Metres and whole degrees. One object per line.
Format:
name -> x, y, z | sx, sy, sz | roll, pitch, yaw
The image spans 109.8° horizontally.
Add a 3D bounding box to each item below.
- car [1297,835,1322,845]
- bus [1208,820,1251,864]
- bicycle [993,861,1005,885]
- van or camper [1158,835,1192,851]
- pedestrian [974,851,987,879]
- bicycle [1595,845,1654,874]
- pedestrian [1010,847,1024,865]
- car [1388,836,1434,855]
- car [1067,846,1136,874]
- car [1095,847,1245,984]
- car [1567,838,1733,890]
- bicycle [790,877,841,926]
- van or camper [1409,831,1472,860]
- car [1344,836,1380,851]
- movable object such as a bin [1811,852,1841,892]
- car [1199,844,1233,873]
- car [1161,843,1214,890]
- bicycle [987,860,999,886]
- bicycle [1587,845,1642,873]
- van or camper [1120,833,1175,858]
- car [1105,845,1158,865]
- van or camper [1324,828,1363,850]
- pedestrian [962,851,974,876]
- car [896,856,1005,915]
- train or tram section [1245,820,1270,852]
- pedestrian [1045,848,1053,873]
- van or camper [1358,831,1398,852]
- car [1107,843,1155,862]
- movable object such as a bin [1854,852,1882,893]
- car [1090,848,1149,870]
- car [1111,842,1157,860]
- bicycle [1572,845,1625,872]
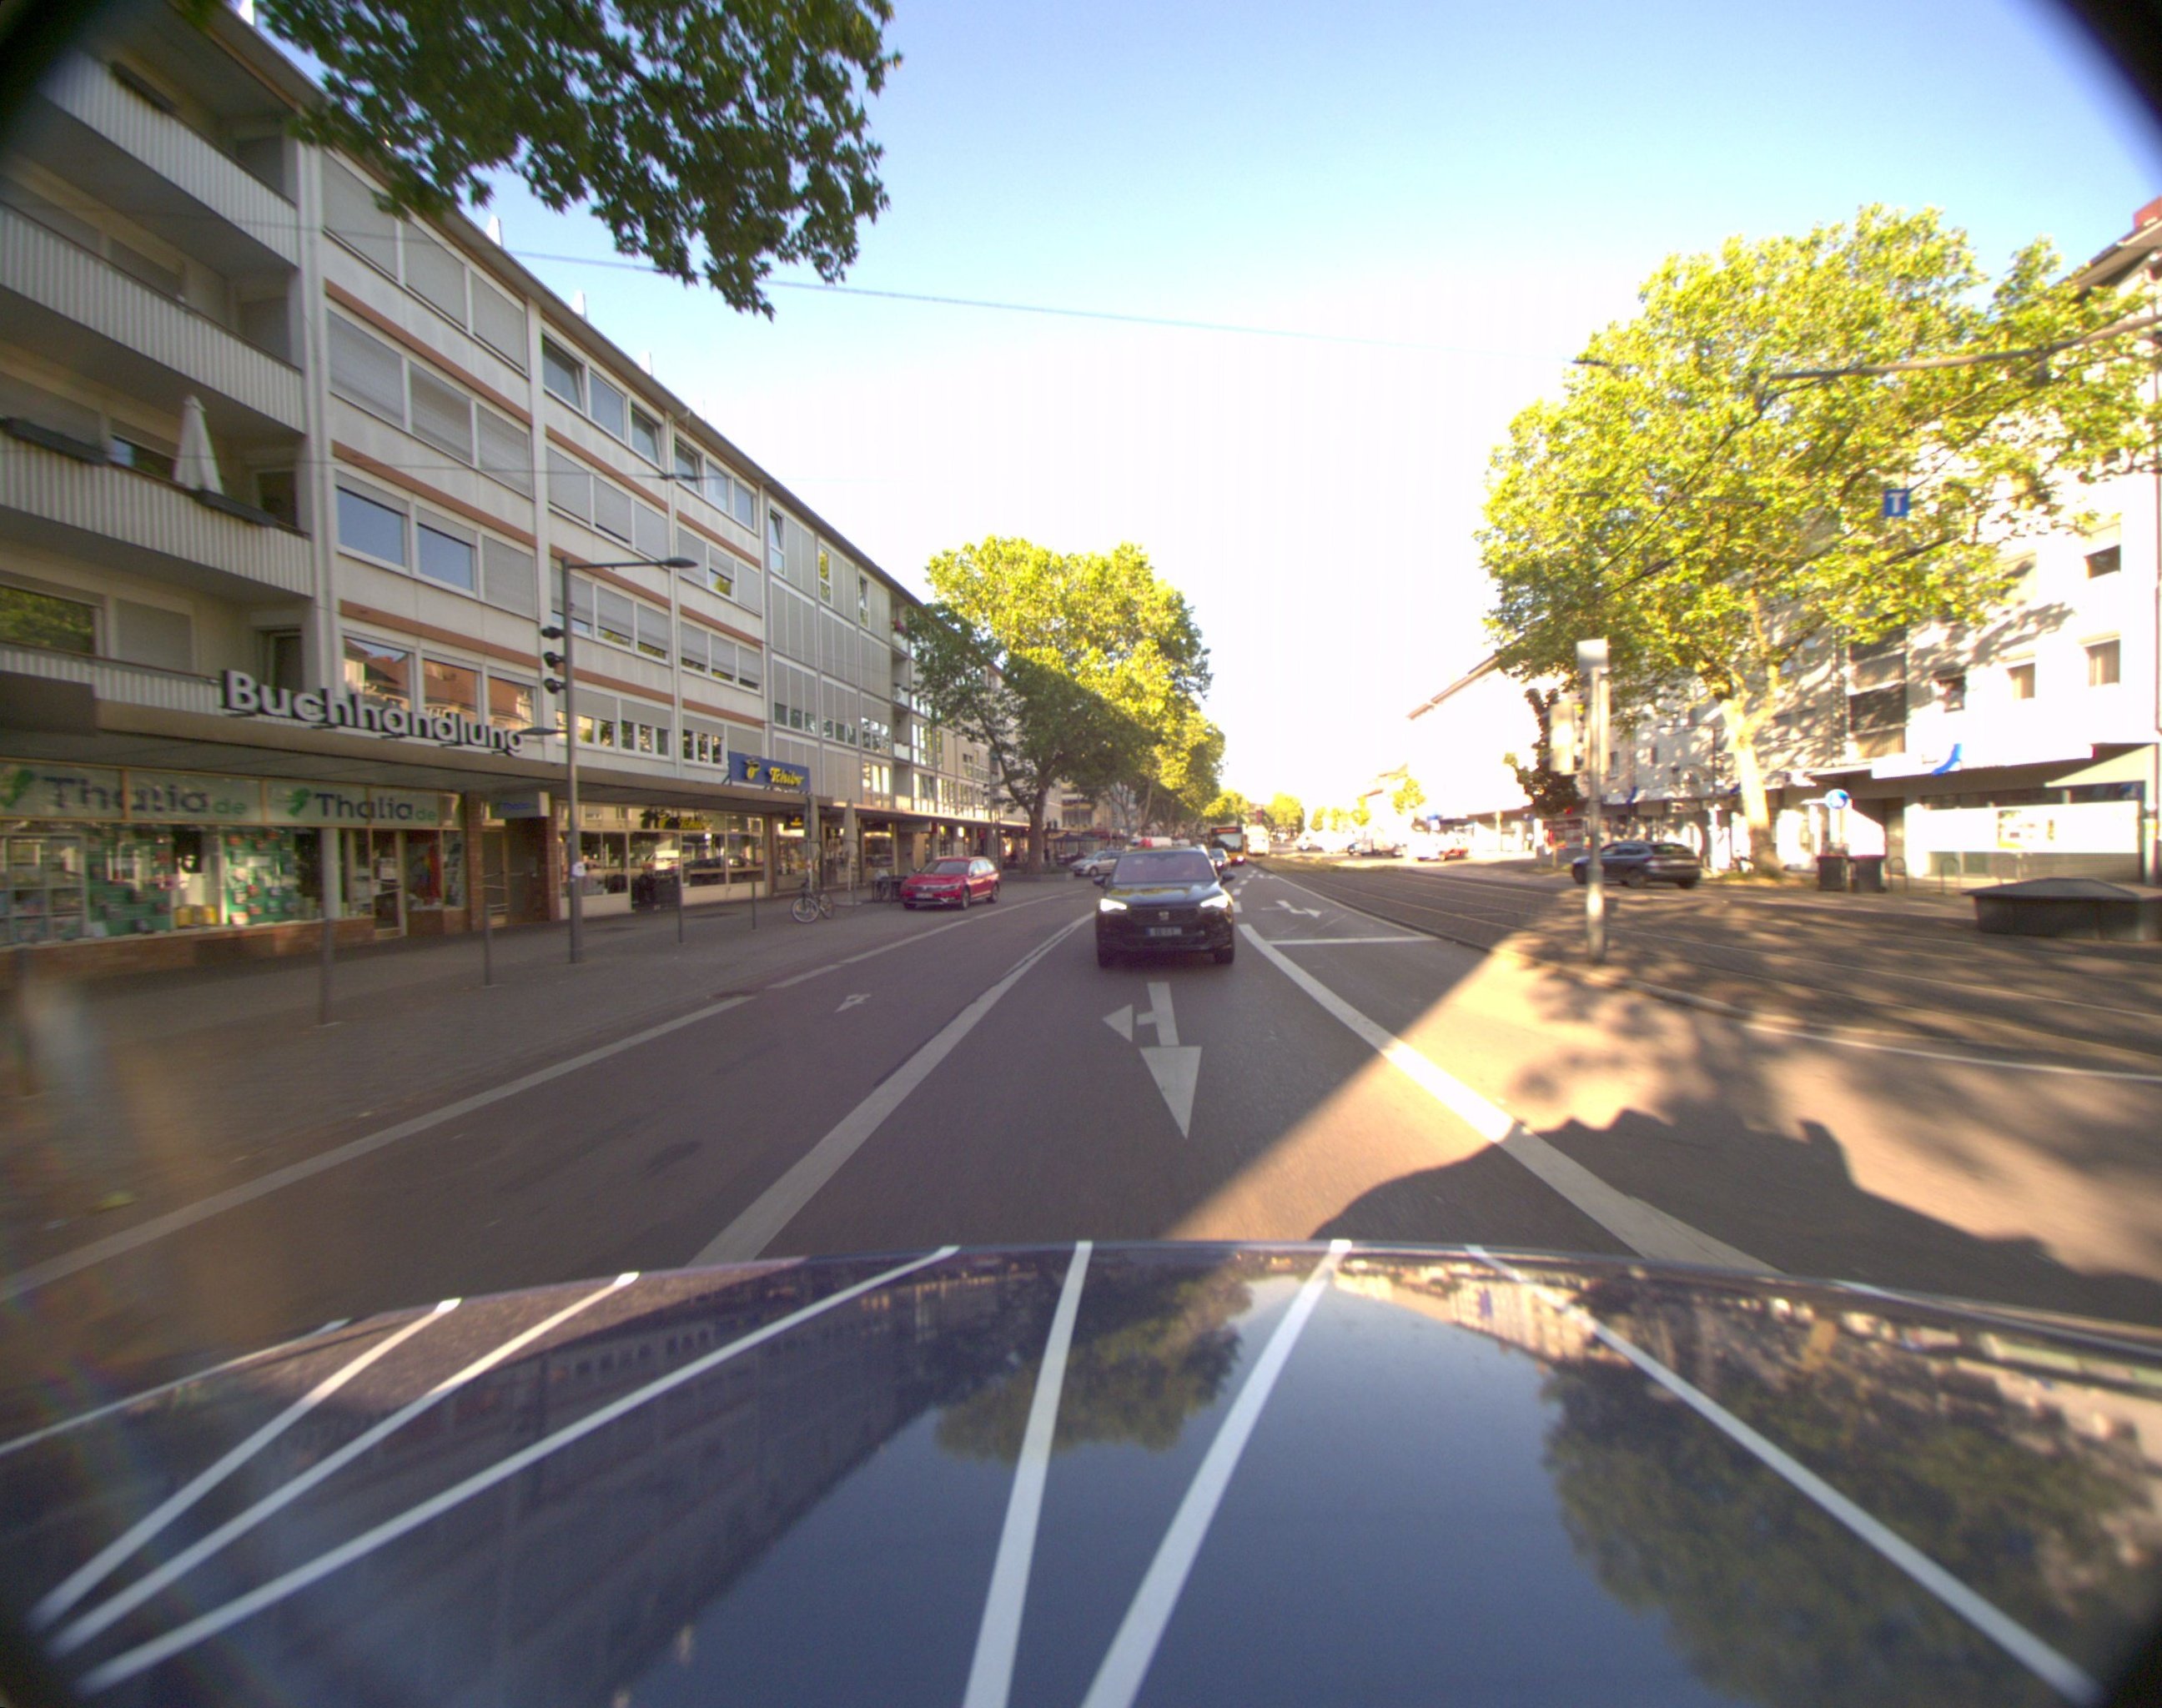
car -> 41.231, -2.575, 137.128 | 3.917, 1.482, 1.767 | -3, 1, -13
bus -> 11.671, -1.065, 60.392 | 2.870, 2.962, 12.245 | -3, 2, 10
bicycle -> -3.698, 0.851, 34.309 | 0.294, 1.034, 1.718 | 2, 1, 1
van or camper -> 15.485, -1.858, 124.560 | 5.471, 2.455, 1.995 | -2, 1, -32
pedestrian -> -5.811, 0.630, 43.901 | 0.538, 1.582, 0.687 | 1, 2, 9
bicycle -> 22.910, 0.236, 32.048 | 1.897, 1.118, 0.652 | -2, 1, 8
pedestrian -> -4.780, 0.153, 56.789 | 0.749, 1.354, 0.963 | -1, 1, 14
car -> 29.891, -0.801, 68.825 | 4.458, 1.482, 1.765 | -4, 1, -37
car -> 1.308, 0.339, 46.907 | 4.007, 1.597, 1.804 | -2, 1, -38
car -> 1.406, 0.762, 11.438 | 1.807, 1.638, 4.002 | -2, 1, 9
car -> 18.043, 0.266, 24.382 | 1.892, 1.464, 4.204 | -2, 1, -7
bicycle -> -6.422, 1.128, 18.431 | 0.512, 1.064, 1.662 | 1, 1, 5
van or camper -> 27.355, -0.676, 57.770 | 4.822, 1.887, 1.947 | -4, 1, -33
car -> 33.006, -1.243, 89.119 | 4.006, 1.577, 1.875 | -4, 1, -33
movable object such as a bin -> 21.159, 0.505, 21.590 | 0.649, 1.087, 0.544 | -1, 1, -40
car -> 7.507, 0.201, 41.944 | 1.657, 1.477, 4.164 | -1, 1, 12
car -> 4.047, 0.412, 28.477 | 1.657, 1.572, 4.003 | -1, 1, 12
bicycle -> -3.981, 0.831, 34.397 | 0.294, 1.095, 1.718 | 2, 1, 1
bicycle -> 23.032, 0.214, 32.842 | 1.897, 1.118, 0.534 | -2, 1, 8
van or camper -> 6.884, -0.915, 78.187 | 5.471, 2.455, 1.995 | -2, 1, -30
car -> 4.067, 0.045, 61.132 | 4.006, 1.428, 1.655 | -1, 2, -30
van or camper -> 35.537, -2.089, 102.825 | 6.409, 2.652, 1.995 | -4, 1, -42
pedestrian -> -6.536, 0.551, 43.977 | 0.538, 1.393, 0.687 | 1, 2, 9
car -> -3.839, 0.867, 23.166 | 1.781, 1.488, 4.570 | 1, 1, 11
train or tram section -> 21.202, -2.160, 91.024 | 2.635, 3.430, 11.139 | -2, 1, 14
pedestrian -> -2.628, 0.519, 62.314 | 0.552, 2.002, 0.577 | -3, 1, -4
van or camper -> 32.155, -1.350, 82.251 | 4.458, 1.978, 1.796 | -4, 1, -35
car -> 4.494, -0.145, 67.738 | 4.006, 1.515, 1.655 | -1, 2, -30
movable object such as a bin -> 21.229, 0.484, 20.501 | 0.575, 1.087, 0.476 | -1, 1, -40
car -> 2.771, 0.303, 54.030 | 4.007, 1.428, 1.655 | -2, 2, -33
car -> 4.968, -0.263, 70.914 | 4.006, 1.555, 1.655 | -1, 2, -30
bicycle -> 23.214, 0.185, 34.084 | 1.897, 1.118, 0.534 | -2, 1, 8
